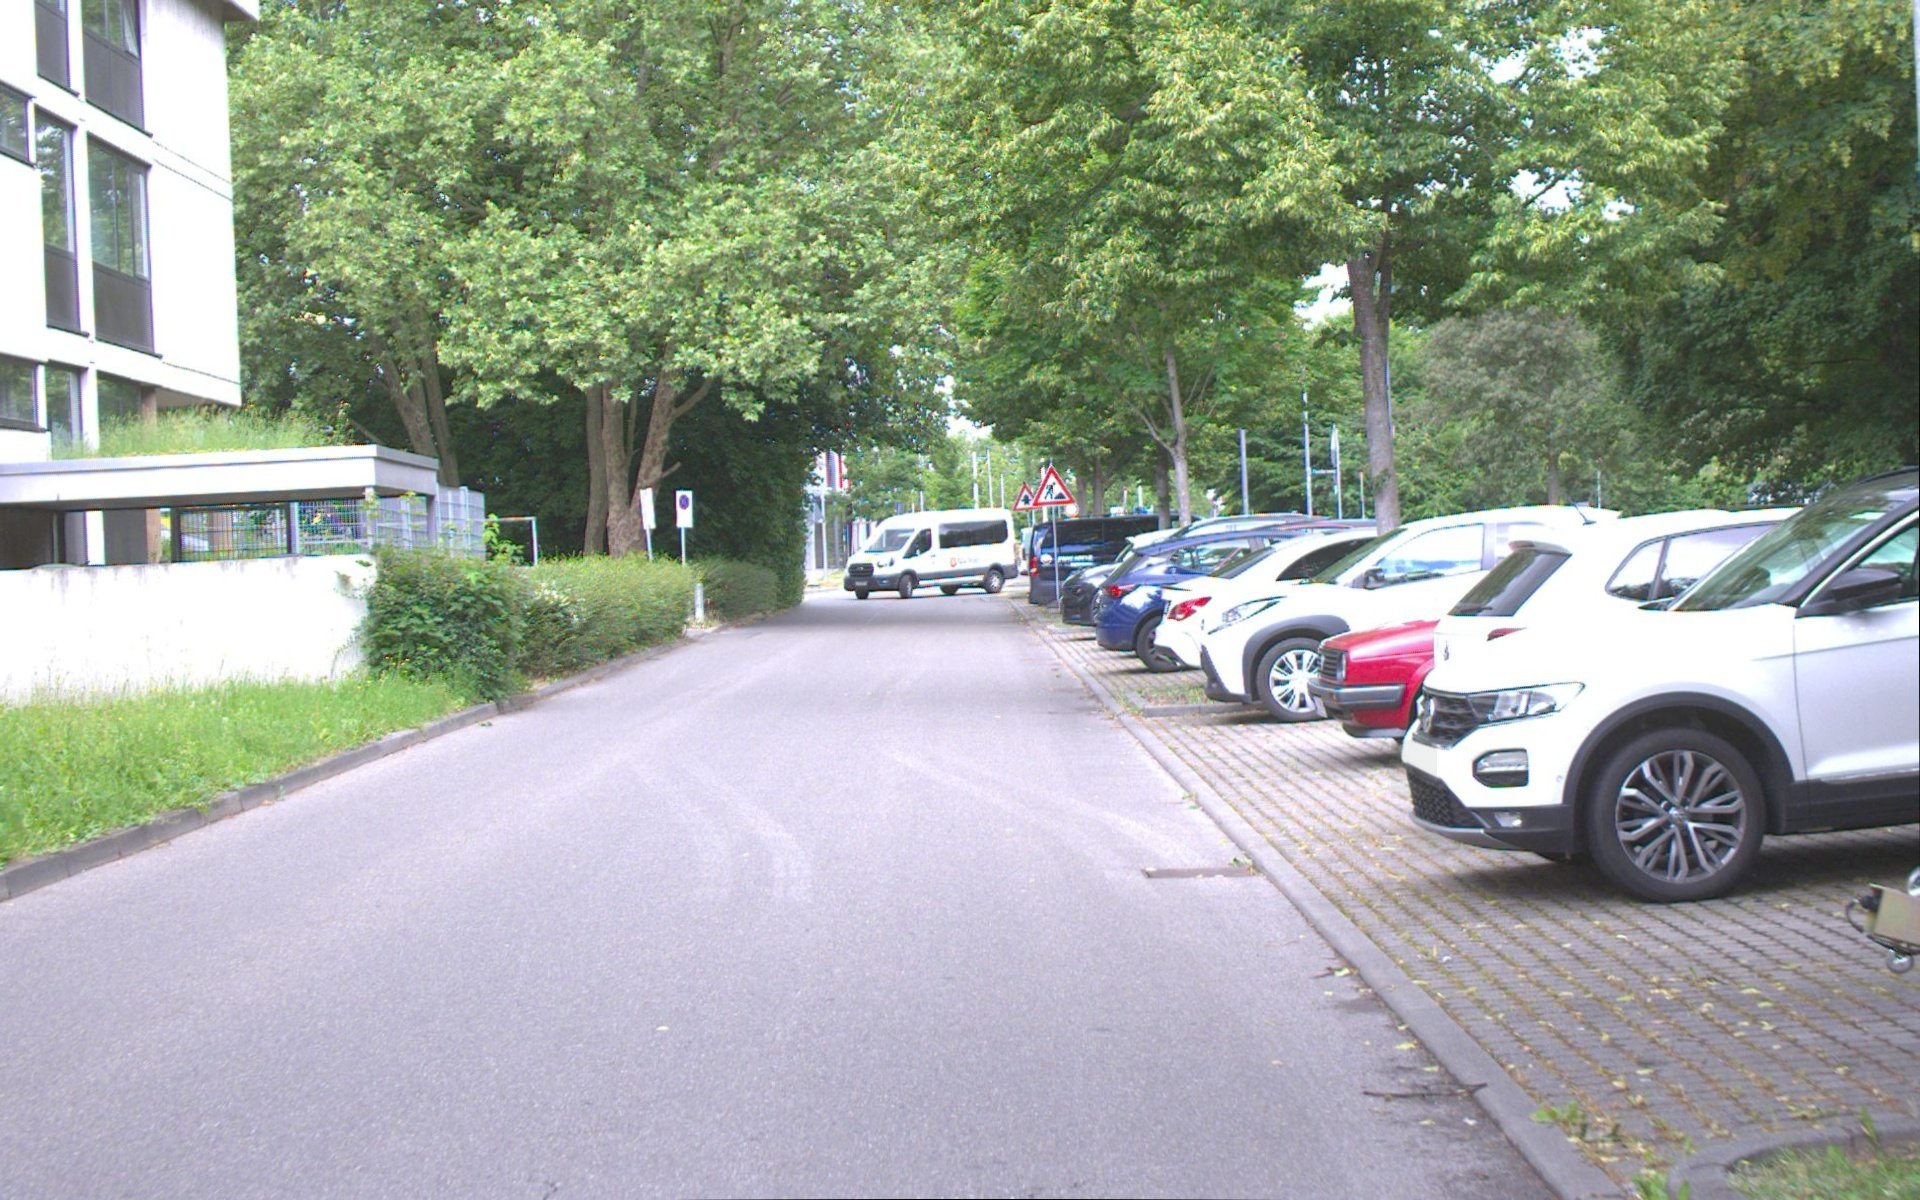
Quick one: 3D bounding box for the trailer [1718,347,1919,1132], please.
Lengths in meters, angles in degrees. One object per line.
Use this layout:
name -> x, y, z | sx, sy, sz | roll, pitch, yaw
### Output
trailer -> 3.626, 0.224, 8.466 | 3.029, 1.784, 1.563 | -4, 0, -3

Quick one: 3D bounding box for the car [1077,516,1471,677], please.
car -> 3.371, -0.044, 37.562 | 4.072, 1.451, 1.851 | -4, 0, 1

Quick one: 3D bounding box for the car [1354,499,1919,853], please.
car -> 4.055, 0.266, 16.172 | 4.007, 1.417, 1.792 | -4, 0, -5

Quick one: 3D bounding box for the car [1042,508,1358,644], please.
car -> 3.495, -0.363, 50.720 | 4.415, 1.670, 2.082 | -4, 1, 0

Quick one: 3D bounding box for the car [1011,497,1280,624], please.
car -> 3.544, -0.765, 66.245 | 4.954, 2.007, 2.166 | -5, 1, 2

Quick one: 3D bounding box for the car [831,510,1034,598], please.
car -> -0.760, -1.377, 101.012 | 2.138, 2.467, 6.260 | 0, 1, 45

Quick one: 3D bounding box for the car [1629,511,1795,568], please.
car -> 21.302, -1.697, 97.549 | 4.393, 1.423, 1.703 | -2, 0, 6

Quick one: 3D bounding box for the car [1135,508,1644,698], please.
car -> 3.981, 0.018, 32.409 | 4.485, 1.449, 1.846 | -4, 0, 0

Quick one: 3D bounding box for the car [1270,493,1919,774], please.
car -> 4.079, 0.178, 21.252 | 4.054, 1.417, 1.817 | -4, 0, -1

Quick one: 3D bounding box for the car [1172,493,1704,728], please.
car -> 3.625, 0.068, 26.644 | 3.840, 1.510, 1.881 | -4, 0, 3

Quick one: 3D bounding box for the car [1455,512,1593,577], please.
car -> 16.121, -1.578, 98.423 | 3.780, 1.662, 1.767 | -3, 0, 8

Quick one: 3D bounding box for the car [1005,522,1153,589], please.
car -> 4.132, -1.539, 119.461 | 4.973, 1.965, 1.847 | -4, 1, 1

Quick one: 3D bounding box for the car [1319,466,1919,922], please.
car -> 3.650, 0.263, 13.585 | 4.112, 1.542, 1.861 | -4, 0, -2

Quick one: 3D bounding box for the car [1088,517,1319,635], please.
car -> 3.744, -0.386, 53.324 | 3.379, 1.569, 1.796 | -4, 1, 1

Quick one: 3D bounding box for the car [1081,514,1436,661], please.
car -> 3.666, -0.163, 42.706 | 4.072, 1.512, 1.851 | -4, 0, -3
